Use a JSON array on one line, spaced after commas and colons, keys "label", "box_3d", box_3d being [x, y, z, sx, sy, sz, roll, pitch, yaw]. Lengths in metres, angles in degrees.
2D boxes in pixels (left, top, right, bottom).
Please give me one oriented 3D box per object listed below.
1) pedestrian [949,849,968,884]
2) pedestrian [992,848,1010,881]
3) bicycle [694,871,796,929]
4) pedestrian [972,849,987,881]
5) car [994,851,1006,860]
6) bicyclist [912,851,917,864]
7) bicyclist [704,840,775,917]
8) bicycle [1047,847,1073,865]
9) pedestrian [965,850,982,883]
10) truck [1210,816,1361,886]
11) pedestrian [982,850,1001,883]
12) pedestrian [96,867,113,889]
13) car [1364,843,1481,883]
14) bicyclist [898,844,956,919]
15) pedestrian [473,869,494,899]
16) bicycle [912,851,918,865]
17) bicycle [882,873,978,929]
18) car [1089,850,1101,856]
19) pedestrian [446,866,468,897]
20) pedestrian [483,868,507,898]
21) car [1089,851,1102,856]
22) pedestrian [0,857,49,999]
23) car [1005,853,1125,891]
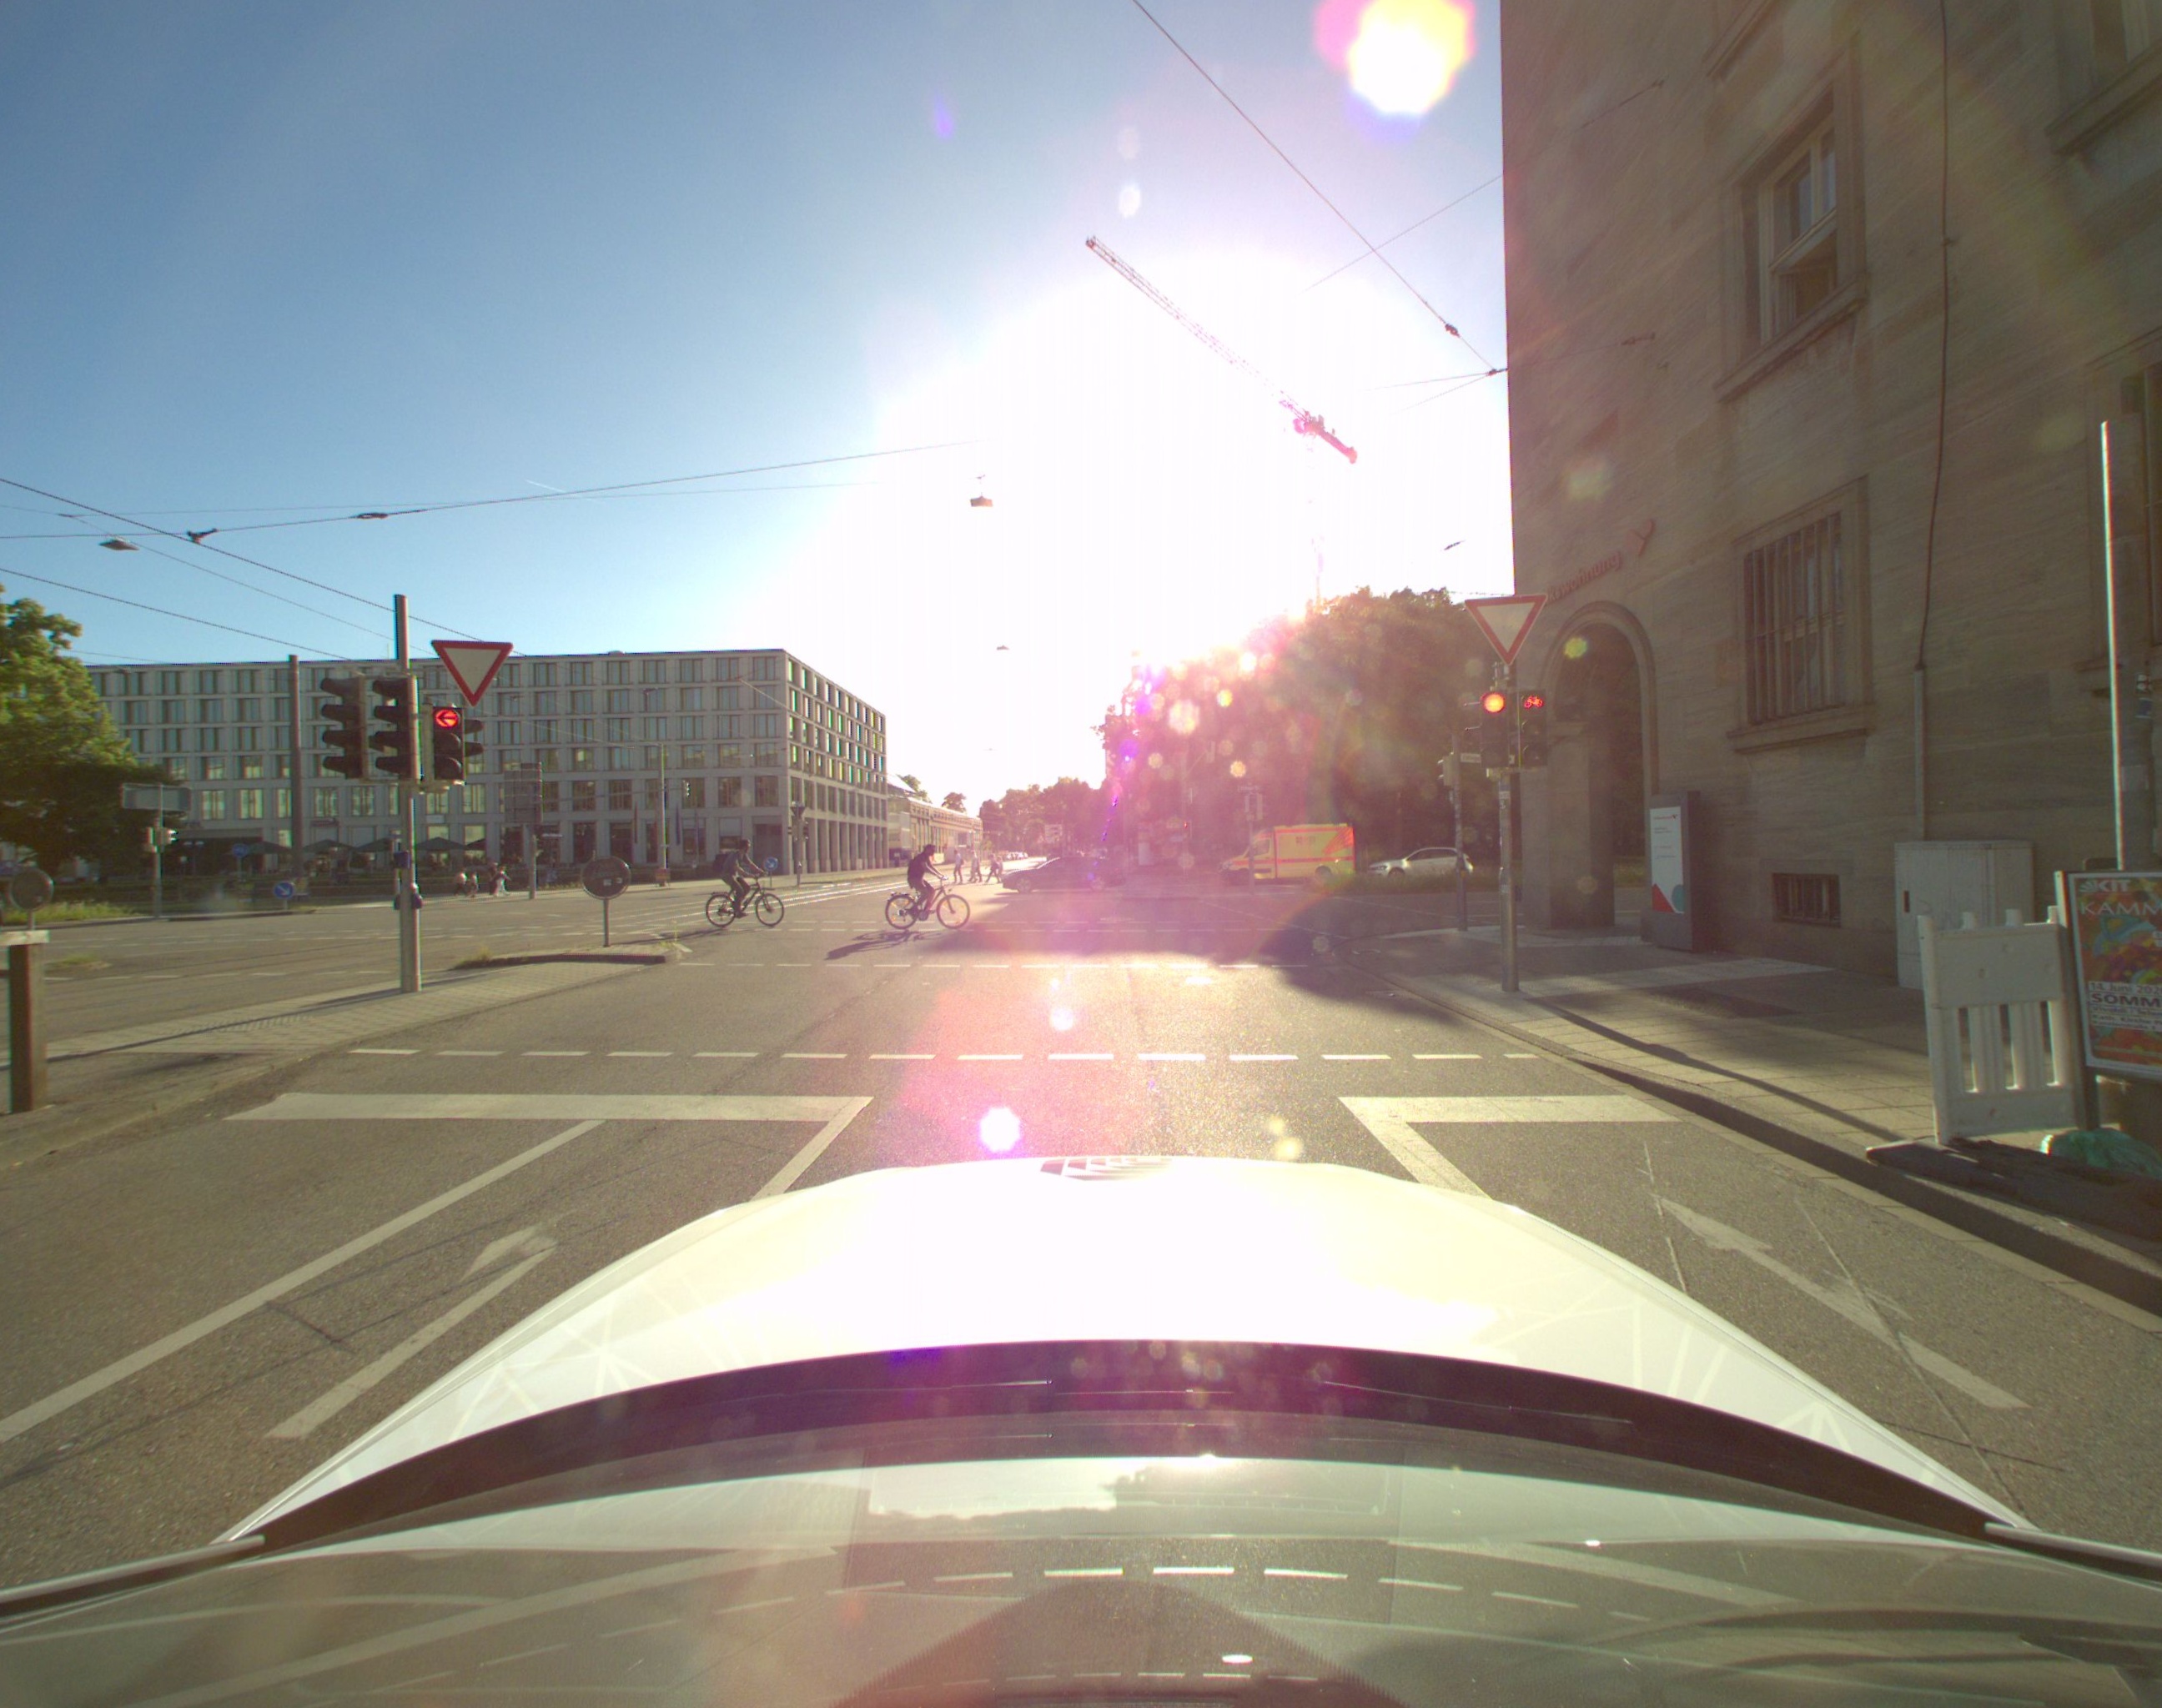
[{"label": "pedestrian", "box_3d": [-6.682, 0.672, 44.494, 0.797, 1.918, 0.638, -2, 0, 7]}, {"label": "pedestrian", "box_3d": [-4.491, 0.596, 45.983, 0.865, 1.803, 0.533, -2, 0, 7]}, {"label": "bicycle", "box_3d": [-7.282, 0.993, 17.695, 1.863, 1.158, 0.768, -2, 1, 6]}, {"label": "pedestrian", "box_3d": [-5.811, 0.630, 46.656, 0.735, 1.803, 0.533, -2, 0, 7]}, {"label": "car", "box_3d": [-15.667, 0.324, 157.147, 1.888, 1.607, 4.499, -2, 0, 0]}, {"label": "bicyclist", "box_3d": [-26.853, 0.554, 131.639, 0.569, 2.024, 0.762, -2, 0, 0]}, {"label": "bicyclist", "box_3d": [-7.413, 0.515, 17.708, 1.118, 1.594, 0.768, -2, 1, 6]}, {"label": "bicycle", "box_3d": [-2.112, 0.231, 81.748, 2.538, 1.743, 1.038, 0, -1, 1]}, {"label": "pedestrian", "box_3d": [-6.031, 0.678, 45.667, 0.735, 1.803, 0.717, -2, 0, 7]}, {"label": "truck", "box_3d": [9.511, -0.125, 38.369, 6.443, 3.016, 2.727, -1, 0, 2]}, {"label": "pedestrian", "box_3d": [-4.959, 0.672, 45.321, 0.865, 1.803, 0.665, -2, 0, 7]}, {"label": "pedestrian", "box_3d": [-74.586, 1.856, 62.212, 0.538, 1.669, 0.561, 0, -1, -2]}, {"label": "car", "box_3d": [13.752, 0.368, 32.957, 4.029, 1.434, 1.632, -2, -1, 0]}, {"label": "bicyclist", "box_3d": [-3.186, 0.550, 16.917, 0.997, 1.512, 0.768, 0, 2, 5]}, {"label": "pedestrian", "box_3d": [-33.393, 1.651, 45.545, 0.692, 1.644, 0.621, -2, 0, -3]}, {"label": "bicycle", "box_3d": [-26.848, 0.650, 131.612, 0.569, 2.296, 1.422, -2, 0, 0]}, {"label": "bicycle", "box_3d": [-3.124, 0.970, 16.921, 1.804, 1.085, 0.768, 0, 2, 5]}, {"label": "car", "box_3d": [3.665, -0.184, 213.681, 3.207, 1.588, 1.445, 0, -1, -3]}, {"label": "pedestrian", "box_3d": [-34.064, 1.492, 44.461, 0.690, 1.644, 0.623, -2, 0, 9]}, {"label": "pedestrian", "box_3d": [-32.011, 1.578, 44.478, 0.790, 1.644, 0.621, -2, 0, -3]}, {"label": "car", "box_3d": [3.692, -0.097, 211.378, 3.210, 1.263, 1.371, 0, -1, -4]}, {"label": "pedestrian", "box_3d": [-13.477, 0.903, 9.898, 0.756, 1.717, 0.826, -2, 0, -3]}, {"label": "car", "box_3d": [-0.591, 0.757, 33.067, 4.718, 1.415, 2.000, -1, -2, 1]}]
